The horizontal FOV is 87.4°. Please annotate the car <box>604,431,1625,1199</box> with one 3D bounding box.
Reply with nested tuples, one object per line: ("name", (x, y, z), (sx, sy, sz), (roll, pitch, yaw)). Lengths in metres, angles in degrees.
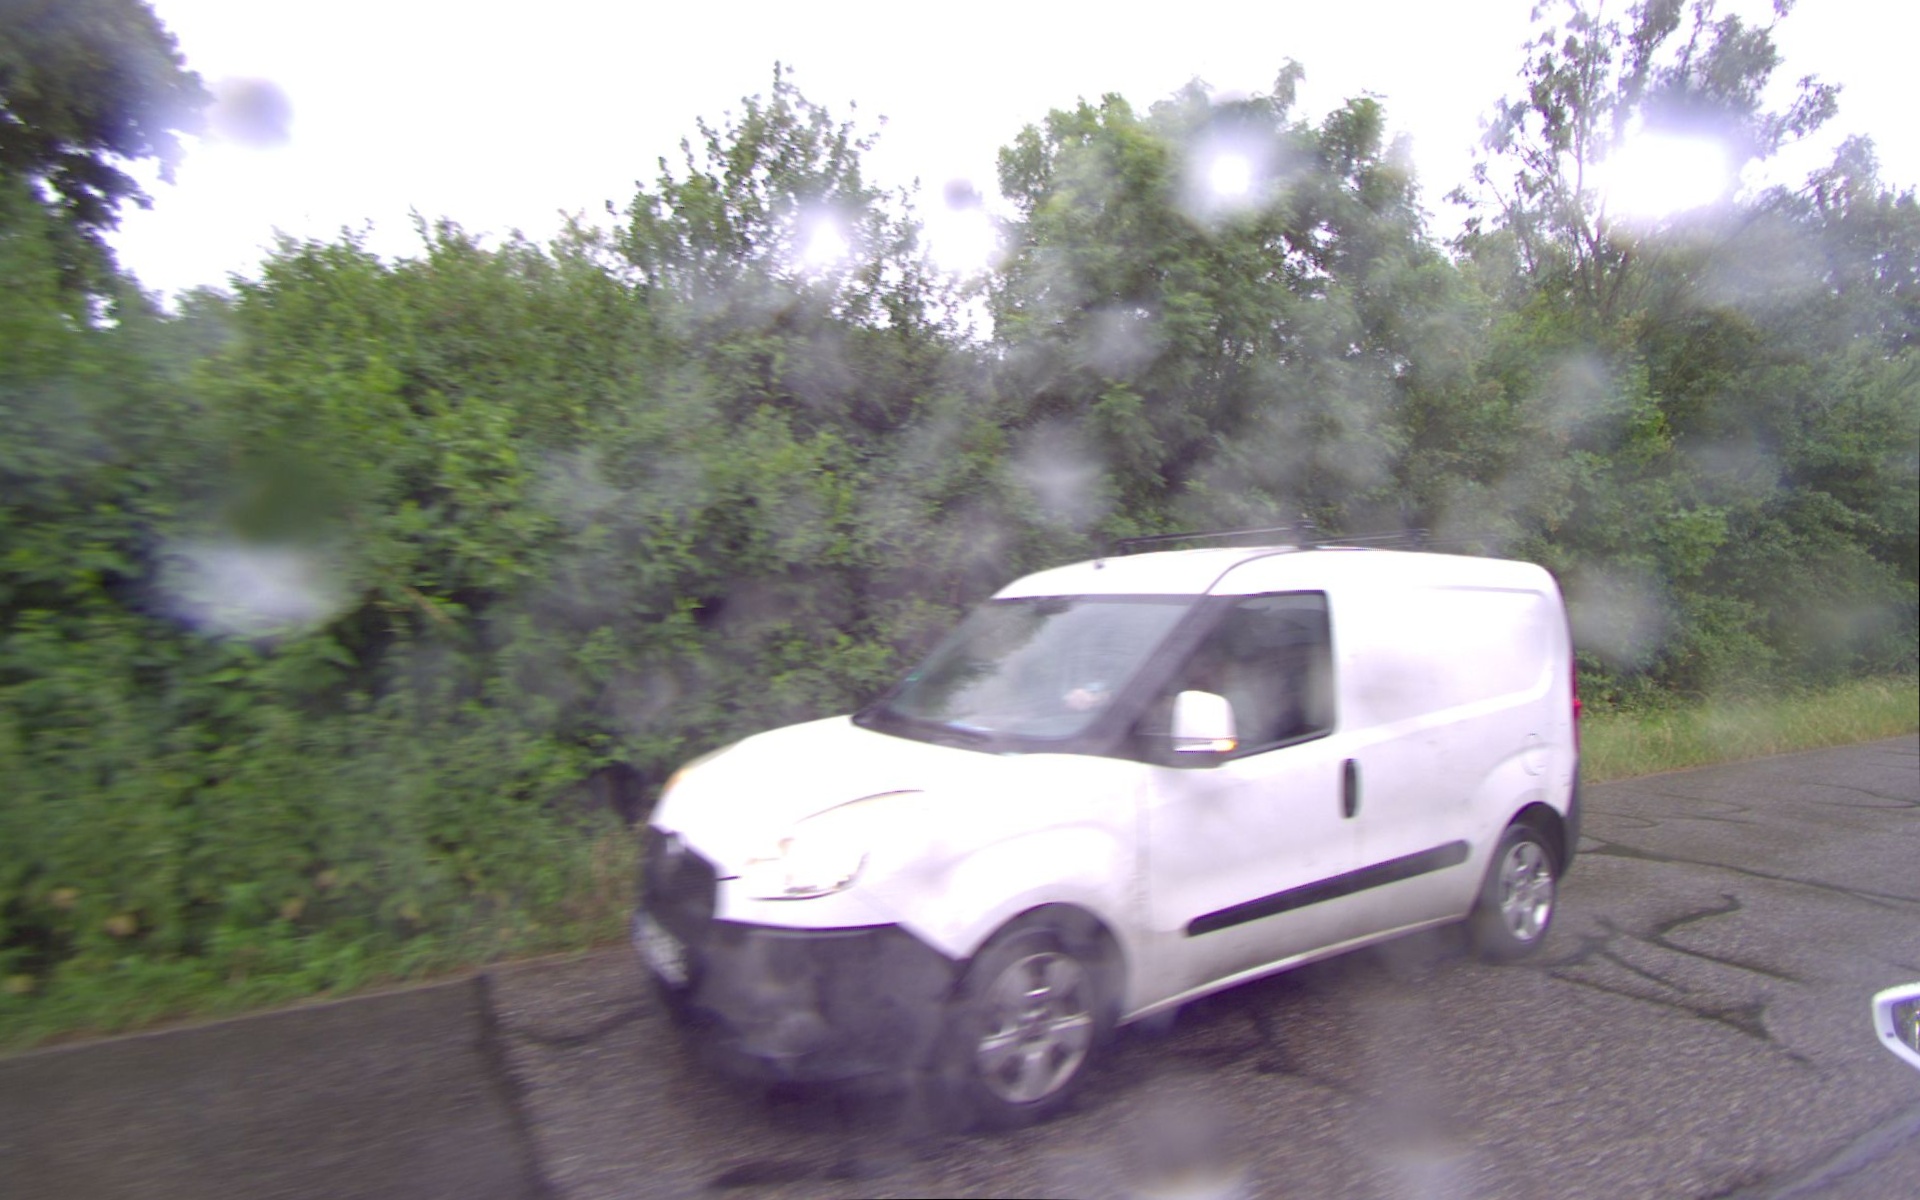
("car", (0.881, 0.567, 4.337), (4.261, 1.856, 1.813), (1, -1, -33))
